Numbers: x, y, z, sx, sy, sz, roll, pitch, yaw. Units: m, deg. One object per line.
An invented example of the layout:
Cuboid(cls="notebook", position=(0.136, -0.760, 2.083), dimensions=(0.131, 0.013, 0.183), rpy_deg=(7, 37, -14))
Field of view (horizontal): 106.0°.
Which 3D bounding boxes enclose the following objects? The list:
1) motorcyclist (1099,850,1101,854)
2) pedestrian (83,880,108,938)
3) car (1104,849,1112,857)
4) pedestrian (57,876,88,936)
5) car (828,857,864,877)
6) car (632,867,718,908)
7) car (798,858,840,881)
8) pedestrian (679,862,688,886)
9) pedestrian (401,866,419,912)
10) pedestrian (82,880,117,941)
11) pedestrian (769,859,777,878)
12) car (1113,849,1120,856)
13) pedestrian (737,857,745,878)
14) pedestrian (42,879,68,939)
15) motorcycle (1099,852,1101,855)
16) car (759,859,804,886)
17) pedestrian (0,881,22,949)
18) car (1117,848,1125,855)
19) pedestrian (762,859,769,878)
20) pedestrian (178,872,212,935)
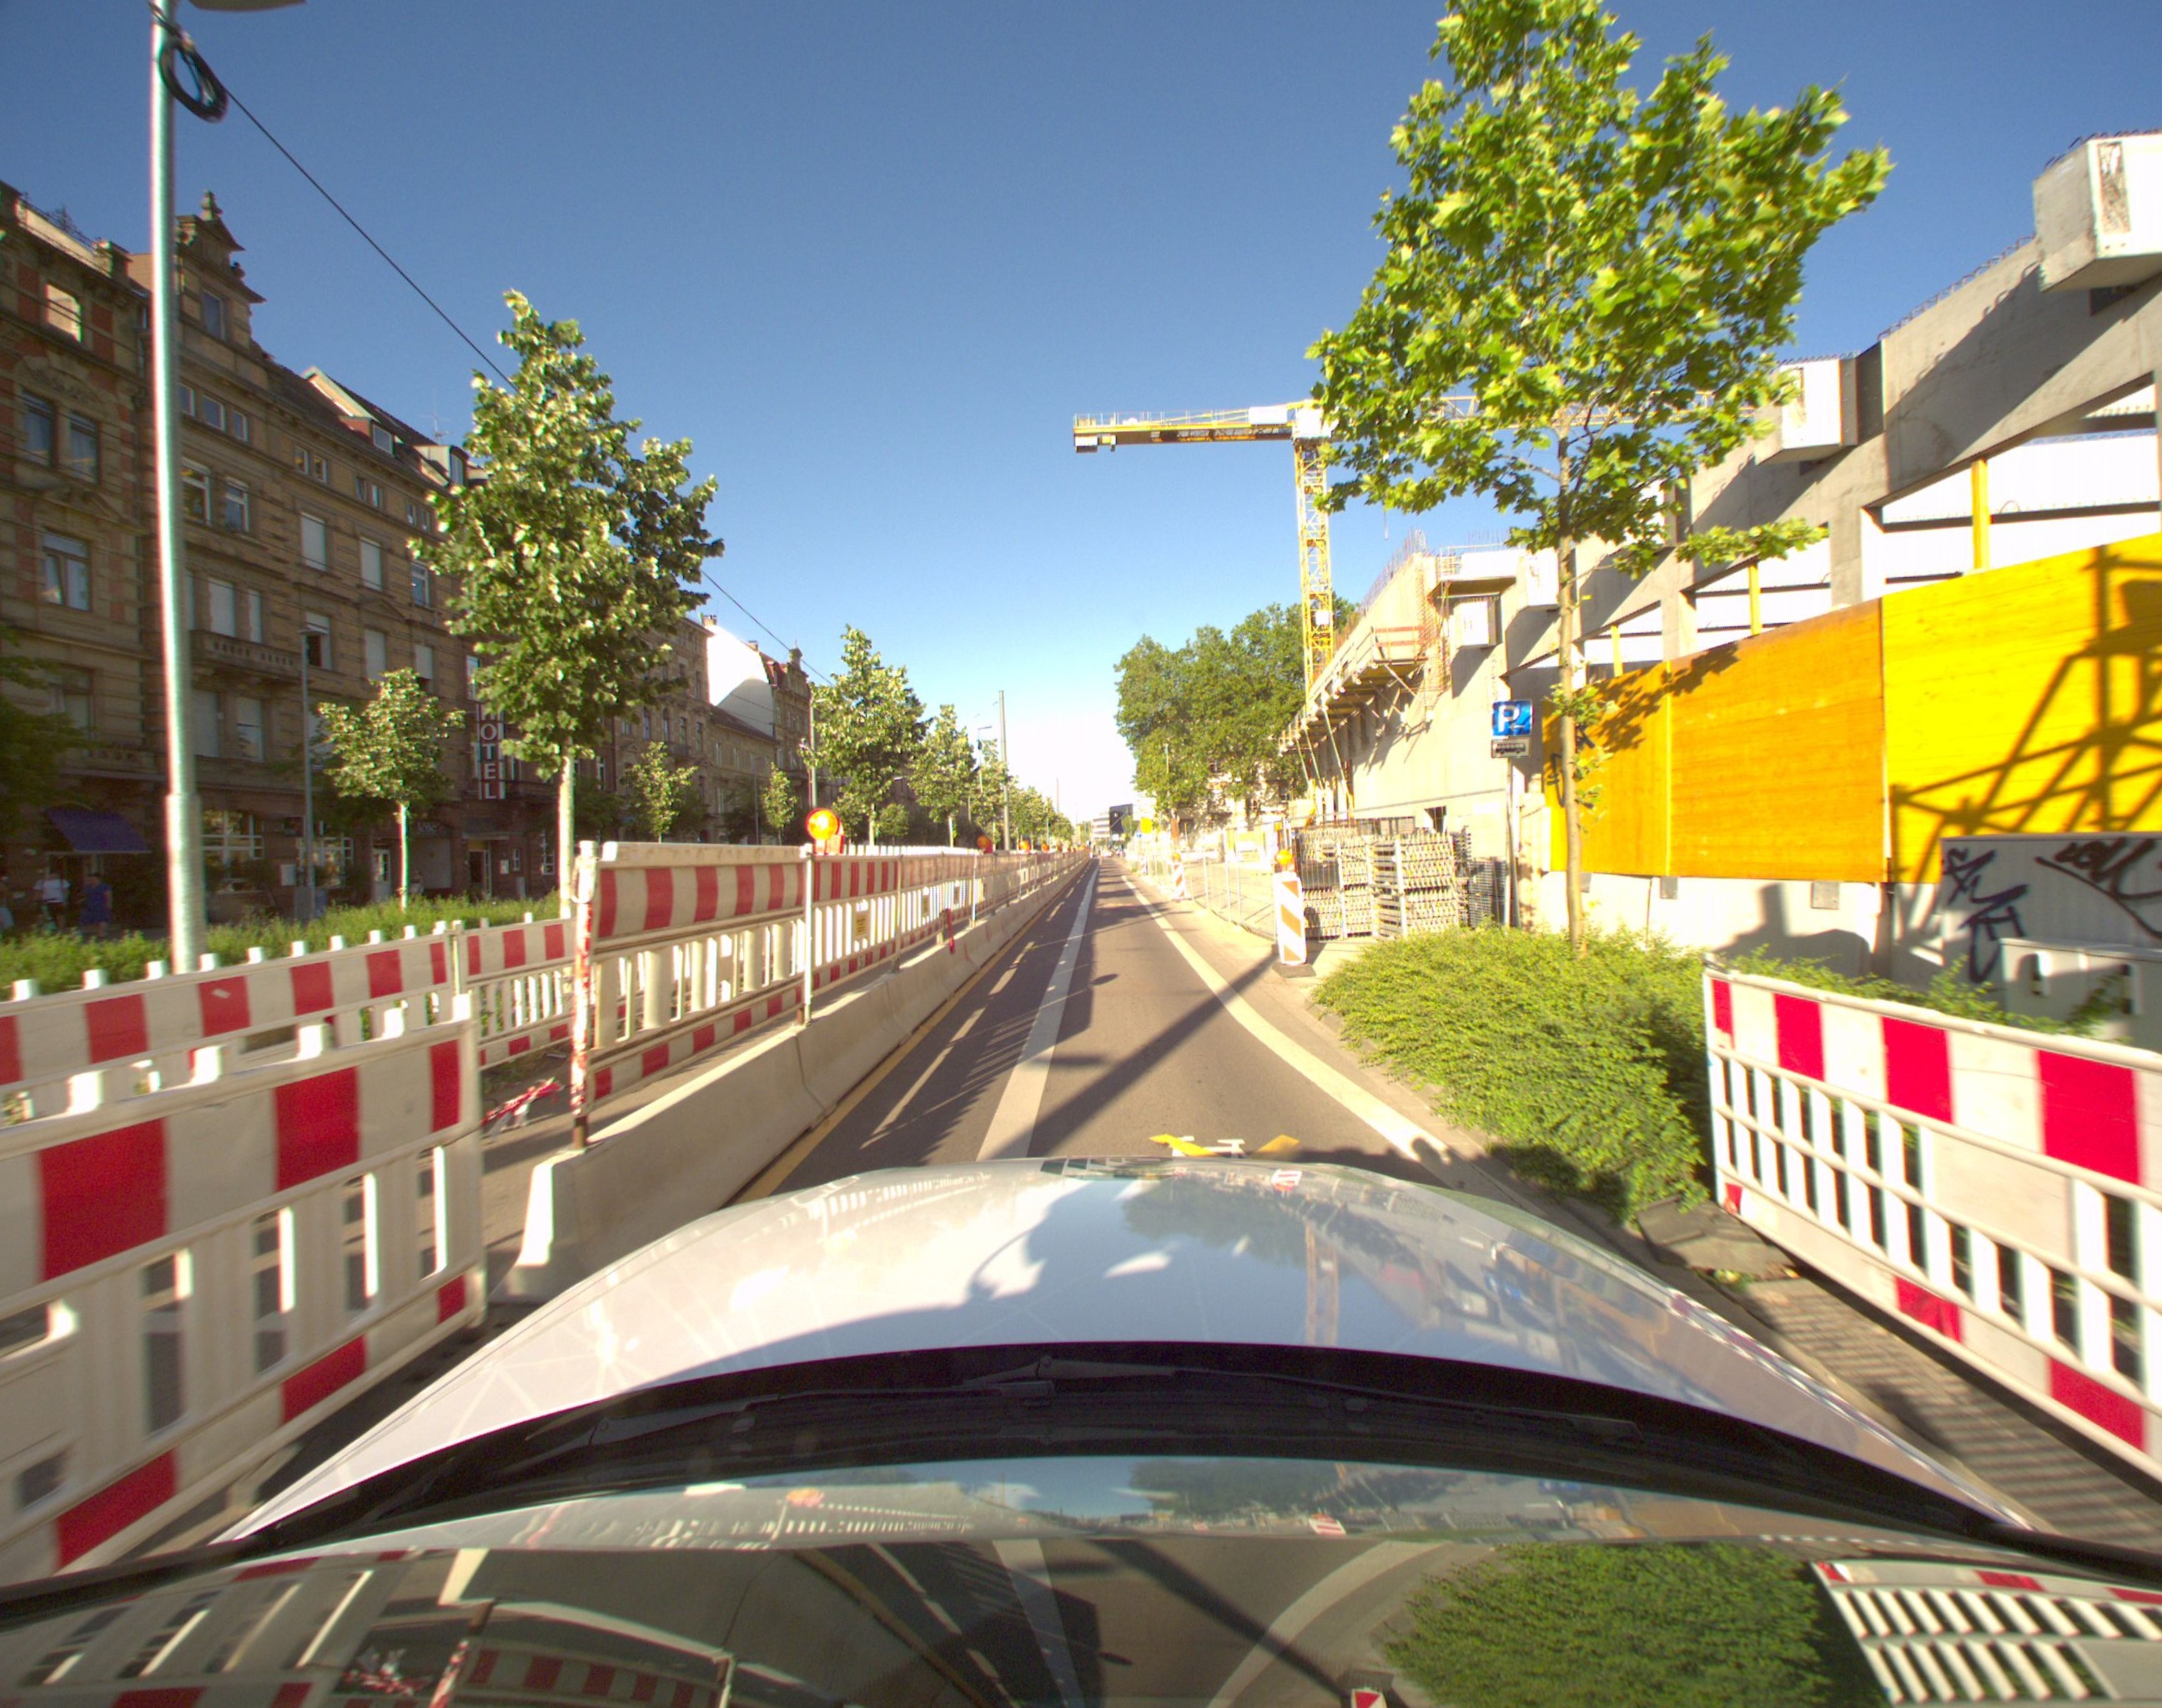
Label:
Cuboid(cls="motorcyclist", position=(5.528, -0.674, 240.931), dimensions=(0.629, 1.263, 0.606), rpy_deg=(-2, 0, 1))
Cuboid(cls="pedestrian", position=(-27.187, 1.507, 22.468), dimensions=(0.369, 1.585, 0.401), rpy_deg=(0, 0, -38))
Cuboid(cls="car", position=(6.235, -0.299, 190.178), dimensions=(1.876, 1.842, 3.669), rpy_deg=(-2, 1, 2))
Cuboid(cls="pedestrian", position=(-27.578, 1.409, 22.273), dimensions=(0.486, 1.585, 0.476), rpy_deg=(0, 0, -45))
Cuboid(cls="car", position=(-20.174, 1.092, 70.042), dimensions=(1.561, 1.562, 4.716), rpy_deg=(-2, 1, 1))
Cuboid(cls="car", position=(-17.101, 1.372, 34.480), dimensions=(1.588, 1.483, 3.626), rpy_deg=(-2, 0, 3))
Cuboid(cls="car", position=(-20.445, 1.159, 63.628), dimensions=(1.560, 1.562, 4.716), rpy_deg=(-2, 1, 2))
Cuboid(cls="pedestrian", position=(-25.748, 1.301, 52.753), dimensions=(0.427, 1.585, 0.339), rpy_deg=(0, 0, 3))
Cuboid(cls="pedestrian", position=(-26.553, 1.378, 32.213), dimensions=(0.365, 1.764, 0.406), rpy_deg=(0, 0, 1))
Cuboid(cls="pedestrian", position=(-26.228, 1.497, 21.760), dimensions=(0.402, 1.585, 0.426), rpy_deg=(0, 0, 1))
Cuboid(cls="pedestrian", position=(-24.900, 1.133, 65.826), dimensions=(0.403, 1.532, 0.435), rpy_deg=(0, 0, 2))
Cuboid(cls="car", position=(10.757, -0.443, 248.108), dimensions=(1.876, 1.842, 3.669), rpy_deg=(-2, 1, 2))
Cuboid(cls="pedestrian", position=(-25.834, 1.042, 61.846), dimensions=(0.460, 1.585, 0.434), rpy_deg=(0, 0, -5))
Cuboid(cls="pedestrian", position=(-27.678, 1.468, 21.977), dimensions=(0.381, 1.585, 0.393), rpy_deg=(0, 0, 32))
Cuboid(cls="motorcycle", position=(5.556, -0.167, 240.984), dimensions=(0.628, 0.896, 1.621), rpy_deg=(-2, 1, 2))
Cuboid(cls="car", position=(-20.663, 1.238, 56.308), dimensions=(1.560, 1.675, 3.810), rpy_deg=(-2, 1, 2))
Cuboid(cls="pedestrian", position=(-25.637, 1.434, 19.260), dimensions=(0.485, 1.585, 0.534), rpy_deg=(0, 0, 2))
Cuboid(cls="car", position=(10.367, -0.675, 211.521), dimensions=(1.876, 1.842, 3.669), rpy_deg=(-2, 1, 2))
Cuboid(cls="pedestrian", position=(-25.643, 1.139, 66.216), dimensions=(0.403, 1.534, 0.435), rpy_deg=(0, 0, 2))
Cuboid(cls="pedestrian", position=(-25.235, 1.415, 23.197), dimensions=(0.506, 1.764, 0.406), rpy_deg=(0, 0, 1))
